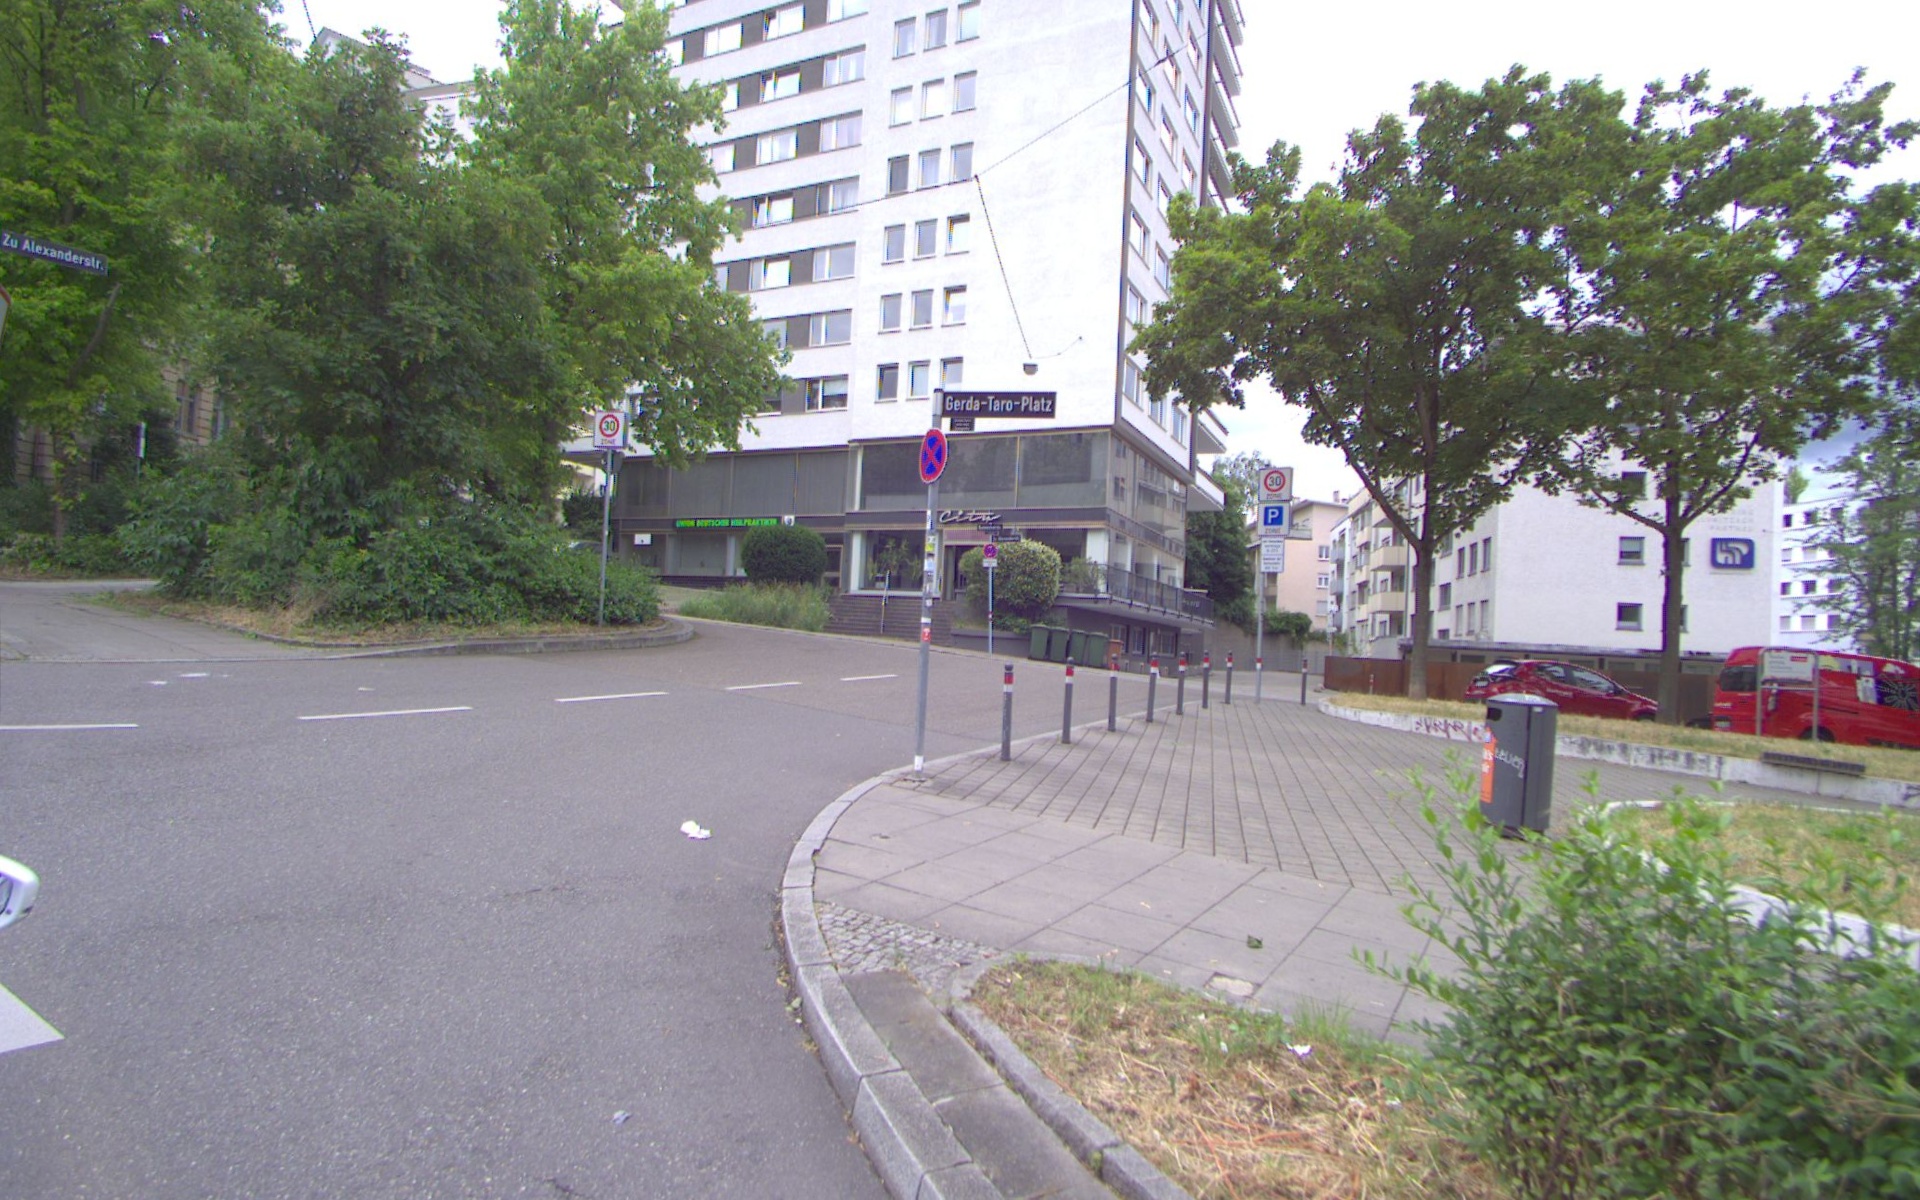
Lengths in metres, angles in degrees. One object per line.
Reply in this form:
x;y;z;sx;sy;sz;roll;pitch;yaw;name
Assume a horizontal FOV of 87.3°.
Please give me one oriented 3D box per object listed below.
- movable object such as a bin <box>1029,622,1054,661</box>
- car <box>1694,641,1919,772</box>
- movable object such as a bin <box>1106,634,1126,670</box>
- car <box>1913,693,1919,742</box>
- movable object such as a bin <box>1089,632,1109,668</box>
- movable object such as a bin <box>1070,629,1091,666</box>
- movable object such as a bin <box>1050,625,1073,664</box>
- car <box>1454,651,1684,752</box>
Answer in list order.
2.431;1.249;30.115;0.599;1.092;0.554;6;0;10;movable object such as a bin
18.655;2.264;21.045;4.801;2.241;2.127;6;0;2;car
4.710;1.576;30.340;0.485;1.030;0.547;6;0;10;movable object such as a bin
37.892;4.592;37.009;2.064;1.900;4.613;6;0;16;car
4.198;1.505;30.431;0.485;1.037;0.547;6;0;10;movable object such as a bin
3.660;1.437;30.519;0.528;1.054;0.536;6;0;10;movable object such as a bin
3.029;1.318;30.014;0.565;1.083;0.554;6;0;10;movable object such as a bin
12.811;2.103;21.359;3.646;1.584;1.750;6;0;4;car
